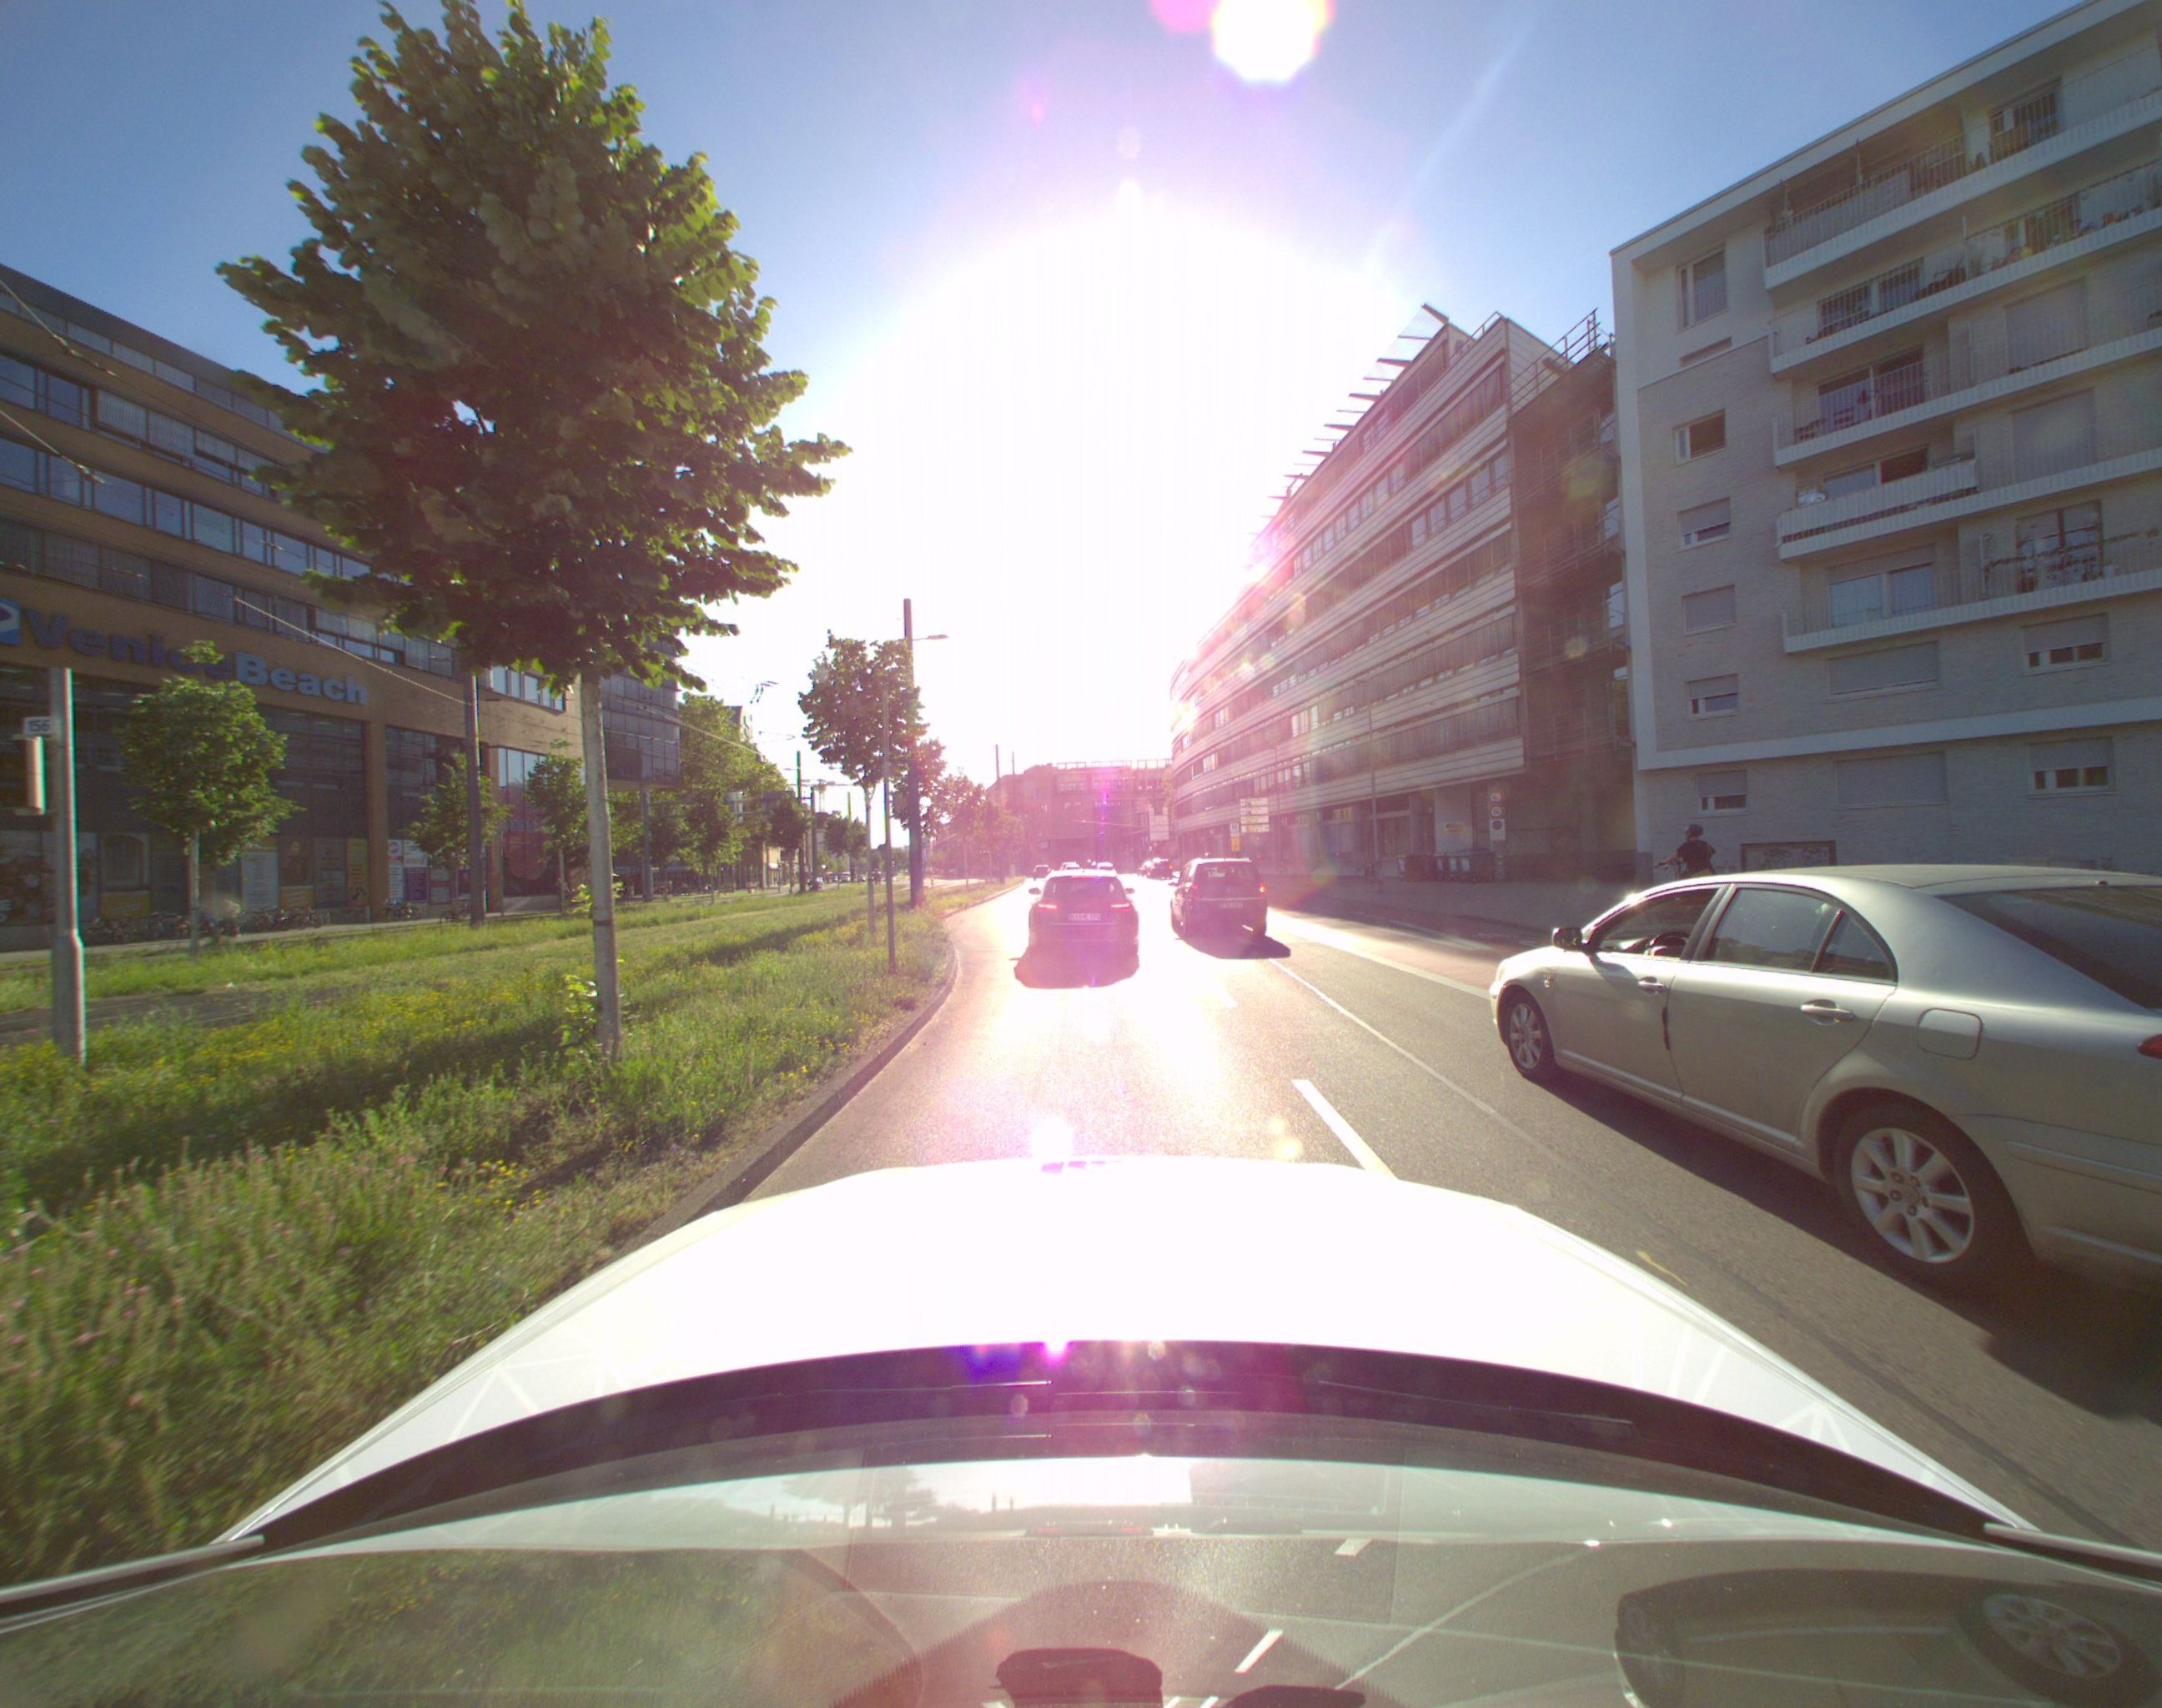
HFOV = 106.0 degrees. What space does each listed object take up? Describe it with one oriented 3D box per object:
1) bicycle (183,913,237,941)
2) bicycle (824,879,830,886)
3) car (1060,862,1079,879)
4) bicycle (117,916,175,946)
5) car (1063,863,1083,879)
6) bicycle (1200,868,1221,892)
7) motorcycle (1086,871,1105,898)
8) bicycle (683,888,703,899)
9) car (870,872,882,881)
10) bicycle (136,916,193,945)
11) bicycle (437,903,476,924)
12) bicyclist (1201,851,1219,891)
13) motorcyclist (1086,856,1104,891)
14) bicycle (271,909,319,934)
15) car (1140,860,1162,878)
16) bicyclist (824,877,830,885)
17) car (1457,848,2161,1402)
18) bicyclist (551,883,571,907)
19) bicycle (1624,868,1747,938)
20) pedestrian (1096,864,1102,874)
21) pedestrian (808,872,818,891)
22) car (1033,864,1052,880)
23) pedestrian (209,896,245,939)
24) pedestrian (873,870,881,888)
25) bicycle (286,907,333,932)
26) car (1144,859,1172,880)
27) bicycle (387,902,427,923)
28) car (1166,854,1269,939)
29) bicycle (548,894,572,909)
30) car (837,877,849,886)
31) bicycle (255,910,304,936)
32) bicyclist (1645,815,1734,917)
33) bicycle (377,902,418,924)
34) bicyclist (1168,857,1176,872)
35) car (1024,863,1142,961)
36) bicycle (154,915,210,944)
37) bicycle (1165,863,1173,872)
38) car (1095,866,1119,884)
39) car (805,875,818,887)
[{"bbox_3d":[-35.889,3.016,33.548,1.757,1.049,0.491,-2,-1,4],"label":"bicycle"},{"bbox_3d":[-44.661,4.991,143.127,0.650,1.085,2.913,-2,-1,-13],"label":"bicycle"},{"bbox_3d":[-1.170,1.625,80.999,1.732,1.651,3.997,-2,-1,-2],"label":"car"},{"bbox_3d":[-36.051,2.984,31.402,1.757,1.049,0.491,-2,-1,4],"label":"bicycle"},{"bbox_3d":[-0.749,1.522,73.779,1.732,1.349,3.997,-2,-1,-2],"label":"car"},{"bbox_3d":[5.870,1.161,36.965,0.490,0.997,2.326,-2,-1,-1],"label":"bicycle"},{"bbox_3d":[0.641,1.353,36.690,0.773,1.115,1.969,-2,-1,0],"label":"motorcycle"},{"bbox_3d":[-39.336,4.003,82.562,1.776,0.951,0.536,-2,-1,-30],"label":"bicycle"},{"bbox_3d":[-37.767,4.164,149.693,1.751,1.505,3.854,-2,-1,-20],"label":"car"},{"bbox_3d":[-35.992,2.993,31.998,1.757,1.049,0.491,-2,-1,4],"label":"bicycle"},{"bbox_3d":[-29.147,2.771,38.040,0.462,0.868,1.769,-2,-1,-3],"label":"bicycle"},{"bbox_3d":[5.854,0.758,36.939,0.575,1.791,0.863,-2,-1,-2],"label":"bicyclist"},{"bbox_3d":[0.635,0.856,36.534,0.742,1.530,1.021,-2,-1,1],"label":"motorcyclist"},{"bbox_3d":[-35.723,3.070,37.014,1.757,1.049,0.491,-2,-1,4],"label":"bicycle"},{"bbox_3d":[6.973,1.512,81.541,1.986,1.651,4.001,-2,-1,2],"label":"car"},{"bbox_3d":[-44.619,4.721,143.074,0.758,1.375,0.946,-2,-1,-15],"label":"bicyclist"},{"bbox_3d":[3.801,0.736,4.190,1.744,1.431,4.490,-2,-1,2],"label":"car"},{"bbox_3d":[-33.296,2.625,52.168,0.677,1.465,1.014,-2,-1,-6],"label":"bicyclist"},{"bbox_3d":[9.899,0.763,13.452,0.496,1.032,2.208,-2,-1,4],"label":"bicycle"},{"bbox_3d":[2.983,2.490,136.176,0.700,1.759,0.564,-3,-1,22],"label":"pedestrian"},{"bbox_3d":[-28.900,2.931,87.800,0.730,2.014,0.838,-1,-1,2],"label":"pedestrian"},{"bbox_3d":[-3.762,1.760,79.839,1.645,1.433,3.997,-2,-1,-2],"label":"car"},{"bbox_3d":[-34.641,2.578,33.041,0.741,1.669,0.676,-2,-1,3],"label":"pedestrian"},{"bbox_3d":[-21.636,2.664,86.402,0.631,1.830,0.661,-2,-1,-9],"label":"pedestrian"},{"bbox_3d":[-35.713,3.038,37.713,1.757,1.049,0.491,-2,-1,4],"label":"bicycle"},{"bbox_3d":[6.948,1.387,73.625,1.988,1.750,4.327,-2,-1,-1],"label":"car"},{"bbox_3d":[-35.546,3.088,42.968,1.757,1.049,0.491,-2,-1,4],"label":"bicycle"},{"bbox_3d":[2.965,0.878,18.580,1.681,1.629,4.464,-2,-1,2],"label":"car"},{"bbox_3d":[-33.287,3.027,52.050,0.497,0.910,1.885,-2,-1,-5],"label":"bicycle"},{"bbox_3d":[-43.848,5.057,150.229,1.998,1.596,4.712,-3,0,-16],"label":"car"},{"bbox_3d":[-35.725,3.058,36.303,1.757,1.049,0.491,-2,-1,4],"label":"bicycle"},{"bbox_3d":[9.848,0.193,13.219,0.622,1.566,1.044,-2,-1,3],"label":"bicyclist"},{"bbox_3d":[-35.522,3.077,42.340,1.757,1.049,0.491,-2,-1,4],"label":"bicycle"},{"bbox_3d":[10.651,1.228,95.618,0.679,1.618,0.995,-3,-1,14],"label":"bicyclist"},{"bbox_3d":[0.012,0.932,15.000,1.806,1.492,4.494,-1,-1,-1],"label":"car"},{"bbox_3d":[-35.938,3.001,32.552,1.757,1.049,0.491,-2,-1,4],"label":"bicycle"},{"bbox_3d":[10.299,1.564,95.308,0.500,1.058,1.709,-5,-1,16],"label":"bicycle"},{"bbox_3d":[2.254,1.822,70.635,1.802,1.457,3.997,-1,-1,-2],"label":"car"},{"bbox_3d":[-48.662,4.804,146.996,1.998,2.014,3.978,-2,-1,-16],"label":"car"}]
